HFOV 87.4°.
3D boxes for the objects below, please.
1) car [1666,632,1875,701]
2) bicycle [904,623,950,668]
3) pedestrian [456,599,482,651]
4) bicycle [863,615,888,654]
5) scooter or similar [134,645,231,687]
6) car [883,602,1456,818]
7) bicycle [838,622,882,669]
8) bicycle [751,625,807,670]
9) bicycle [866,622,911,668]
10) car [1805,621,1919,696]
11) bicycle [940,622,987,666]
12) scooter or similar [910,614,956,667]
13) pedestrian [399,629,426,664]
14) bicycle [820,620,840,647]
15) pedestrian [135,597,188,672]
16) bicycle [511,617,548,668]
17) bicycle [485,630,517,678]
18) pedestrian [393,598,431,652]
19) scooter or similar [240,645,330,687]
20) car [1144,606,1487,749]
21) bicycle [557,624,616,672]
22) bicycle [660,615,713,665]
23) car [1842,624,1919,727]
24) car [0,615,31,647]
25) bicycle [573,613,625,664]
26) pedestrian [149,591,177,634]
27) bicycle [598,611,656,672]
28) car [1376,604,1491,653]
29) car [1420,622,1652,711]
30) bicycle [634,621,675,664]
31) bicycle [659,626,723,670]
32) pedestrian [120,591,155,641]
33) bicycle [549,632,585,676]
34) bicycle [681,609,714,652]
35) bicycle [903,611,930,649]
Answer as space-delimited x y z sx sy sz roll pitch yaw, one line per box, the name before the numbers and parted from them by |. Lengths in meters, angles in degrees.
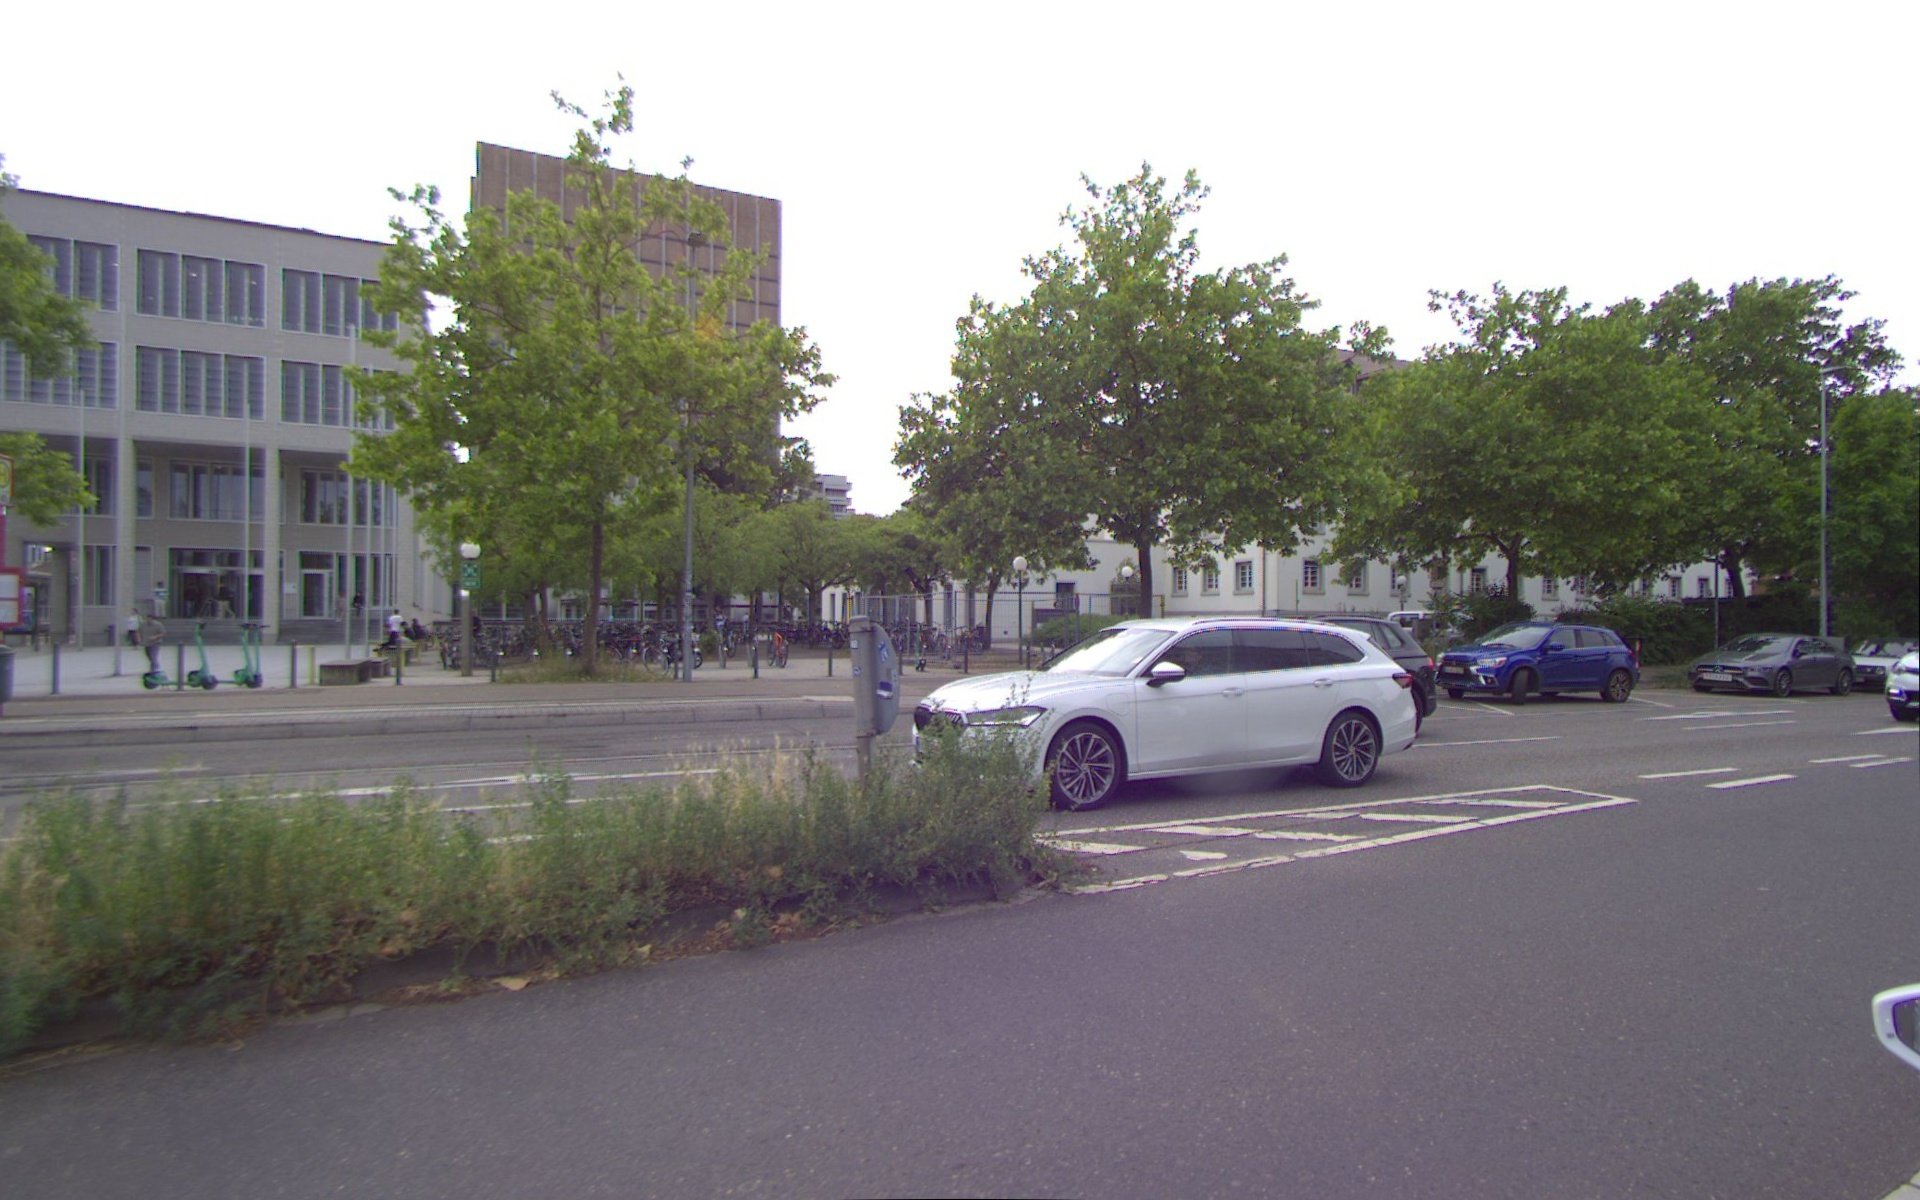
car | 19.566 1.561 24.256 4.659 1.443 1.870 1 1 -22
bicycle | -1.229 1.649 37.098 0.713 1.615 2.389 1 -2 -29
pedestrian | -19.292 0.982 39.495 0.783 2.040 0.894 1 -2 -18
bicycle | -3.620 1.464 42.762 0.905 1.579 3.085 0 -1 -8
scooter or similar | -13.607 1.143 17.605 1.271 0.703 0.406 1 1 -23
car | 1.923 0.807 8.941 4.845 1.485 1.897 1 0 -26
bicycle | -3.591 1.609 35.926 0.713 1.615 2.389 1 -2 -29
bicycle | -5.120 1.315 28.285 0.713 1.190 2.735 1 -2 -28
bicycle | -2.622 1.625 36.566 0.713 1.615 2.389 1 -2 -29
car | 24.219 1.471 26.115 3.947 1.712 1.987 1 1 -26
bicycle | 0.124 1.669 38.196 0.713 1.615 2.389 1 -2 -29
scooter or similar | -0.674 0.983 24.816 0.558 1.260 1.570 1 -1 -25
pedestrian | -22.387 1.902 41.097 0.783 1.437 0.894 1 -2 -18
bicycle | -6.168 1.569 47.623 0.905 1.221 2.664 0 -2 -8
pedestrian | -22.231 0.967 27.963 1.089 2.040 0.785 2 -2 -42
bicycle | -13.750 1.333 32.051 0.772 1.579 2.645 1 -2 -30
bicycle | -13.860 1.608 30.296 0.713 1.371 2.474 1 -2 -29
pedestrian | -20.932 0.943 38.409 0.969 2.040 0.796 0 -1 3
scooter or similar | -12.075 1.171 17.986 1.271 0.703 0.406 1 1 -23
car | 4.928 0.996 13.903 4.408 1.716 1.987 1 -2 -26
bicycle | -9.593 1.209 25.754 0.716 1.168 2.011 1 -2 -42
bicycle | -9.091 1.314 33.281 0.913 1.579 2.428 1 -2 -35
car | 16.396 1.177 16.063 4.124 1.567 1.988 1 -3 -26
car | -46.290 1.460 47.805 1.932 1.475 3.661 1 -2 -25
bicycle | -11.580 1.219 32.156 0.913 1.579 2.641 1 -2 -35
pedestrian | -37.582 0.600 47.351 0.941 2.040 0.785 2 -2 -42
bicycle | -9.011 1.100 27.119 0.891 1.579 2.178 1 -2 -35
car | 17.263 1.001 36.786 1.631 1.623 3.572 1 0 -27
car | 11.909 1.315 20.764 4.529 1.629 1.854 1 0 -24
bicycle | -9.886 1.355 32.464 0.713 1.347 2.806 1 -2 -29
bicycle | -7.437 1.296 27.721 0.716 1.159 2.302 1 -2 -42
pedestrian | -33.693 0.665 41.135 1.031 2.040 0.785 2 -2 -42
bicycle | -12.148 1.636 31.029 0.713 1.286 2.524 1 -2 -29
bicycle | -10.093 1.181 38.643 0.905 1.579 2.664 0 -2 -8
bicycle | -1.906 1.298 43.715 0.905 1.579 2.664 0 -1 -8
